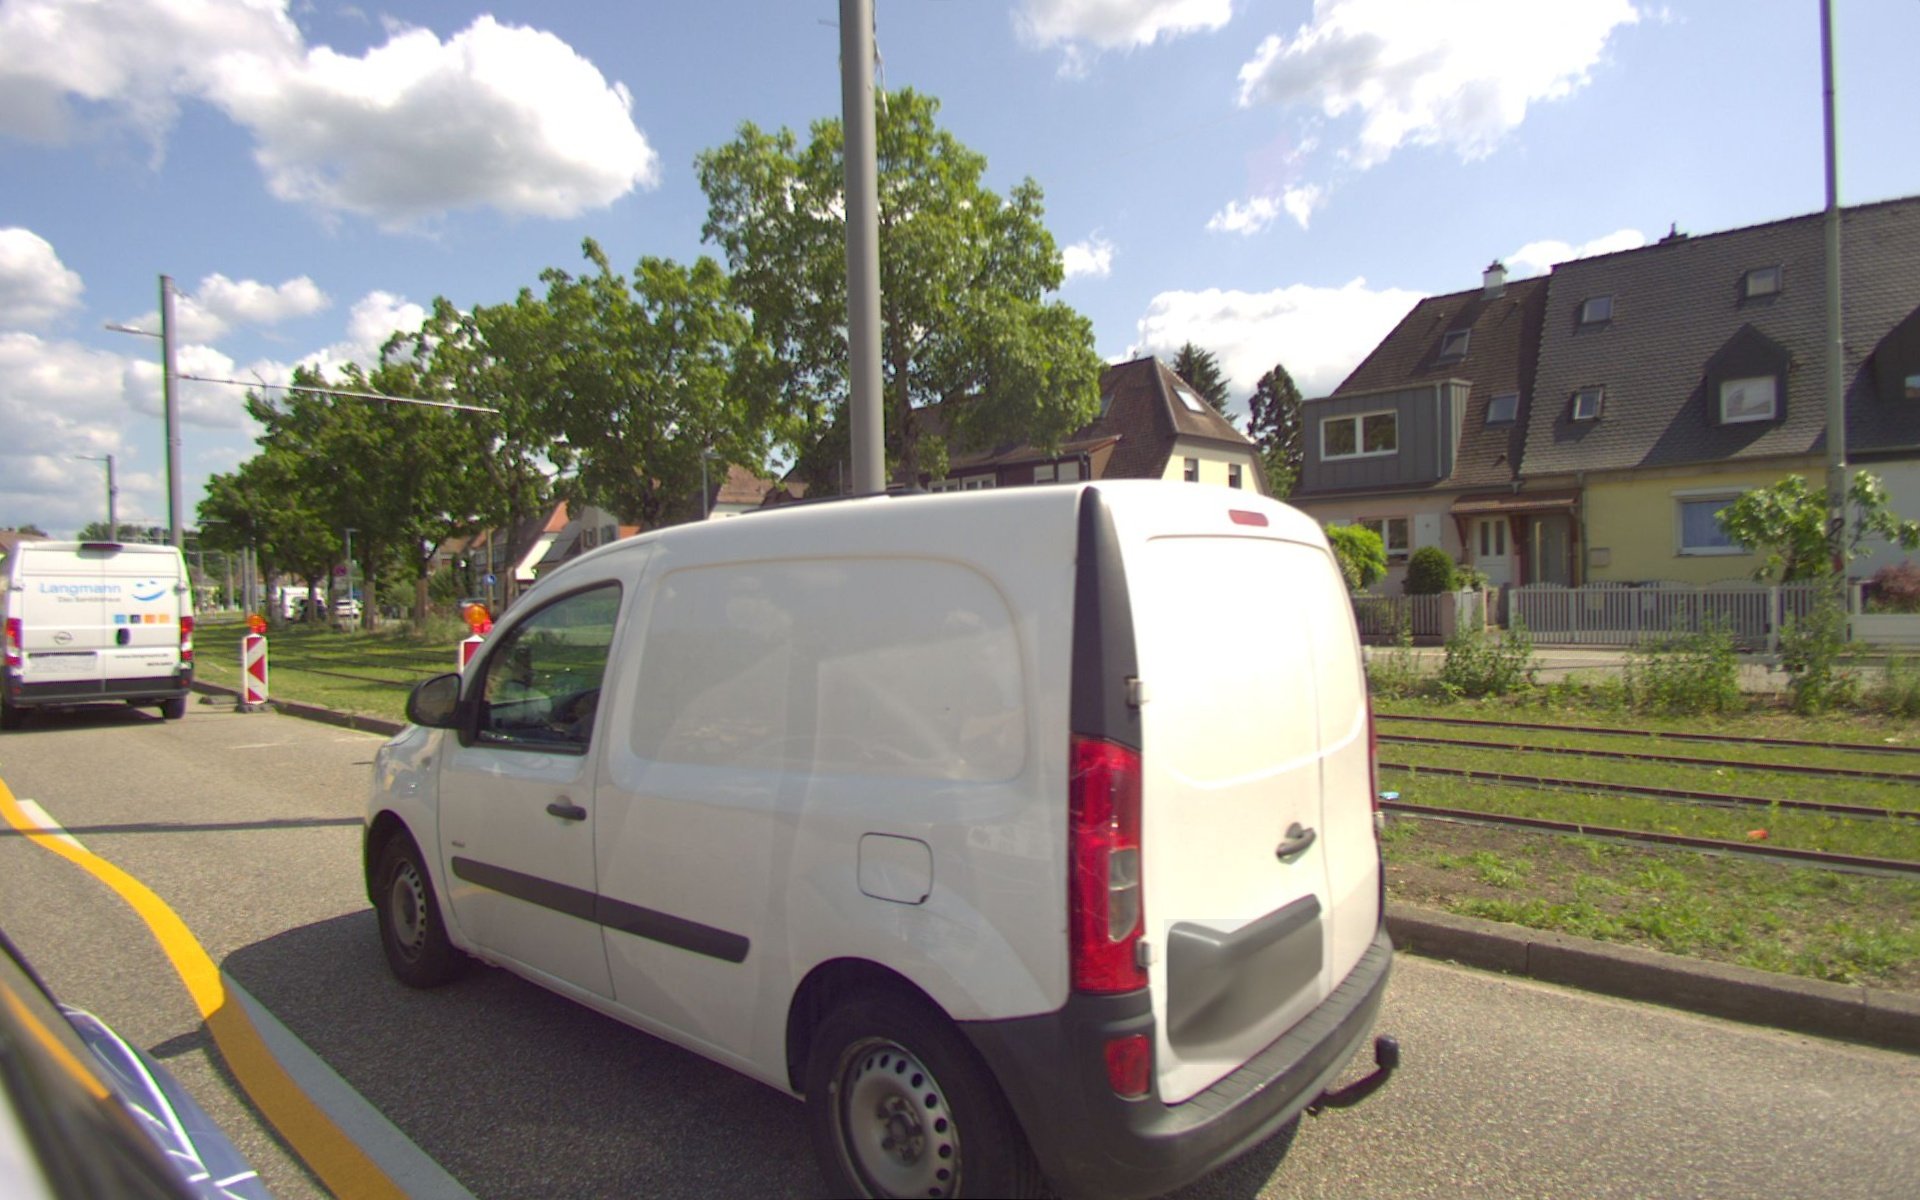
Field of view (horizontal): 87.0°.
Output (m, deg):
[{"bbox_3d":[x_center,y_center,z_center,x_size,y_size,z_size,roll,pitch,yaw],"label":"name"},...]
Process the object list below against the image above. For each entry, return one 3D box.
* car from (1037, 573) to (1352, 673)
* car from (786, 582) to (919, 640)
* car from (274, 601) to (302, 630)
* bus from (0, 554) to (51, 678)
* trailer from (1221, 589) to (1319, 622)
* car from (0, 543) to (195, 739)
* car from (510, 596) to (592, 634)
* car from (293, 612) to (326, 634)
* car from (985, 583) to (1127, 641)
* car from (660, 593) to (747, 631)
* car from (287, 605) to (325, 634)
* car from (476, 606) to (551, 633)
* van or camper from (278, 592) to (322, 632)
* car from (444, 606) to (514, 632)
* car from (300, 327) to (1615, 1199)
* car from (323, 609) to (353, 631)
[{"bbox_3d":[3.741,0.349,16.763,4.811,1.416,1.800,-1,0,42],"label":"car"},{"bbox_3d":[-3.730,0.355,35.667,2.065,1.850,4.423,-1,0,42],"label":"car"},{"bbox_3d":[-64.029,1.473,96.446,2.124,2.688,4.929,-2,0,-34],"label":"car"},{"bbox_3d":[-31.236,0.551,32.061,12.248,3.438,2.607,-2,-1,43],"label":"bus"},{"bbox_3d":[11.006,0.174,35.761,1.869,1.033,3.945,-1,0,41],"label":"trailer"},{"bbox_3d":[-13.457,0.535,15.332,5.572,2.461,2.079,-1,0,44],"label":"car"},{"bbox_3d":[-22.855,0.819,56.697,1.934,1.911,3.860,-1,2,28],"label":"car"},{"bbox_3d":[-44.653,1.544,69.502,1.827,1.397,4.821,-2,0,-33],"label":"car"},{"bbox_3d":[2.908,0.321,29.970,1.925,1.535,4.423,-1,0,42],"label":"car"},{"bbox_3d":[-11.108,0.518,43.649,4.045,1.529,1.709,-1,0,43],"label":"car"},{"bbox_3d":[-48.078,1.409,74.338,1.967,2.029,4.915,-2,0,-37],"label":"car"},{"bbox_3d":[-27.452,1.192,62.320,3.837,1.468,1.737,-2,0,-43],"label":"car"},{"bbox_3d":[-52.250,0.950,80.031,2.345,2.992,7.312,-1,0,-37],"label":"van or camper"},{"bbox_3d":[-32.847,1.278,69.180,3.939,1.541,1.876,-3,1,-43],"label":"car"},{"bbox_3d":[-0.468,0.549,3.411,4.304,1.787,1.717,-2,0,40],"label":"car"},{"bbox_3d":[-55.209,1.760,89.792,1.856,1.781,5.095,-1,0,-35],"label":"car"}]
